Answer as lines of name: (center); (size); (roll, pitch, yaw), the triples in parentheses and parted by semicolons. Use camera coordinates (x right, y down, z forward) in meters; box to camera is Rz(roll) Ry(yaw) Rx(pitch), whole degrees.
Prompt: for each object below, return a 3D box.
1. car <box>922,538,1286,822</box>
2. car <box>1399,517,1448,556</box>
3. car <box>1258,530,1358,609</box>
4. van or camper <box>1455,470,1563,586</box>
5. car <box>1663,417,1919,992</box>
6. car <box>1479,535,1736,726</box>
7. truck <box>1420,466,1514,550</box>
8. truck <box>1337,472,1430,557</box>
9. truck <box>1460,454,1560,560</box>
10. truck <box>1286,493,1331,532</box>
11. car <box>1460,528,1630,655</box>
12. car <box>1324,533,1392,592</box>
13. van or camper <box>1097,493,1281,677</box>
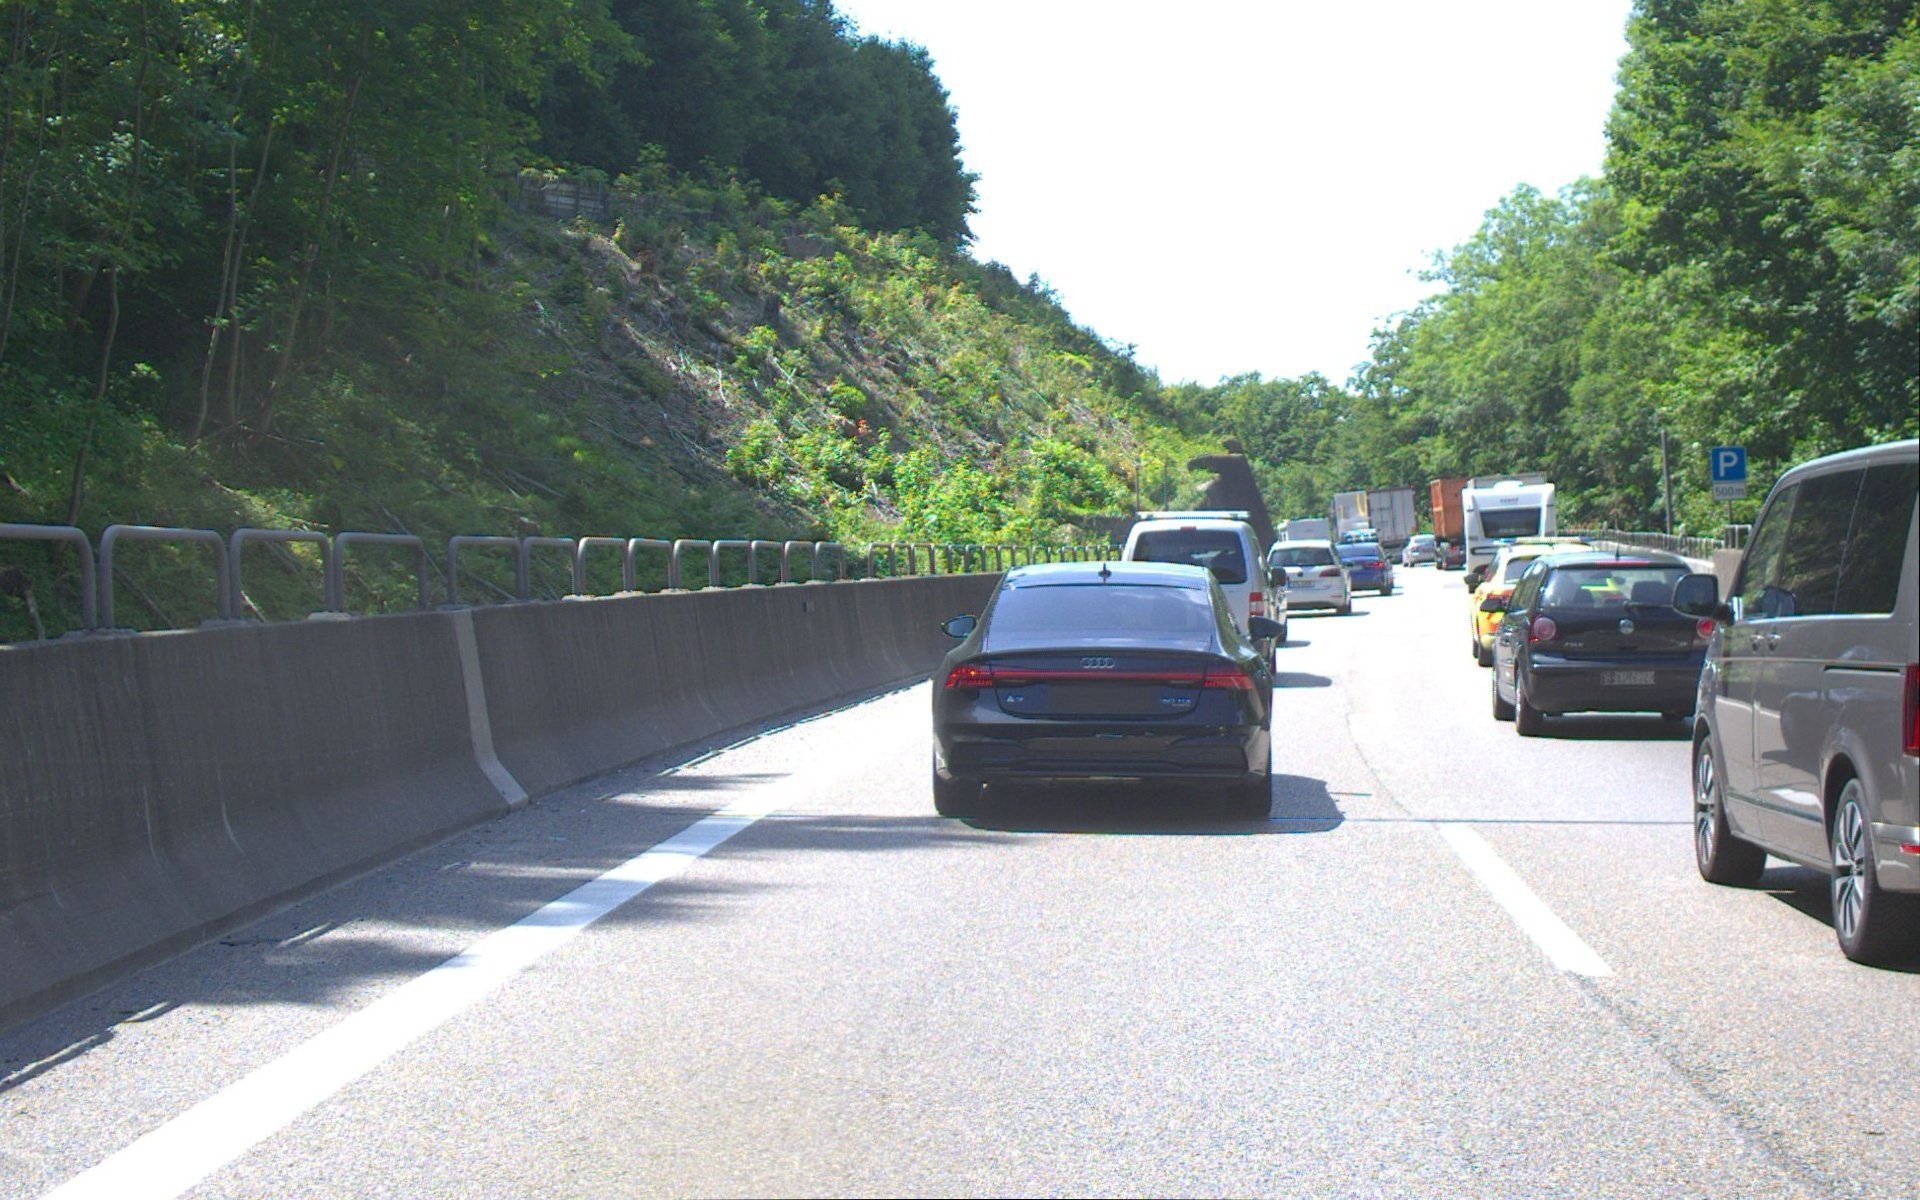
car: (0.850, 0.382, 20.252); (1.905, 1.484, 4.379); (0, 1, 2)
car: (22.316, -3.063, 165.642); (1.994, 1.853, 4.000); (0, 1, 3)
car: (7.108, -0.636, 70.451); (1.895, 1.579, 3.771); (0, 1, 4)
van or camper: (13.921, -1.820, 87.297); (2.604, 2.845, 6.333); (0, 1, 9)
car: (4.154, 0.302, 13.784); (1.941, 1.924, 4.694); (0, 1, 3)
car: (5.235, 0.195, 28.201); (1.685, 1.453, 3.999); (0, 1, 5)
truck: (21.426, -3.872, 145.616); (3.164, 3.456, 8.221); (0, 1, 3)
truck: (22.651, -4.559, 184.272); (3.710, 4.488, 7.725); (0, 1, -2)
truck: (19.746, -3.311, 123.777); (2.925, 3.674, 7.723); (0, 1, 5)
truck: (18.091, -4.535, 178.387); (1.993, 2.007, 4.000); (0, 1, 1)
car: (7.129, -0.134, 42.230); (1.809, 1.472, 4.081); (0, 1, 6)
car: (10.799, -1.037, 93.082); (1.751, 1.565, 3.770); (0, 1, 8)
van or camper: (2.621, -0.196, 38.511); (1.854, 1.935, 4.164); (0, 1, 7)
